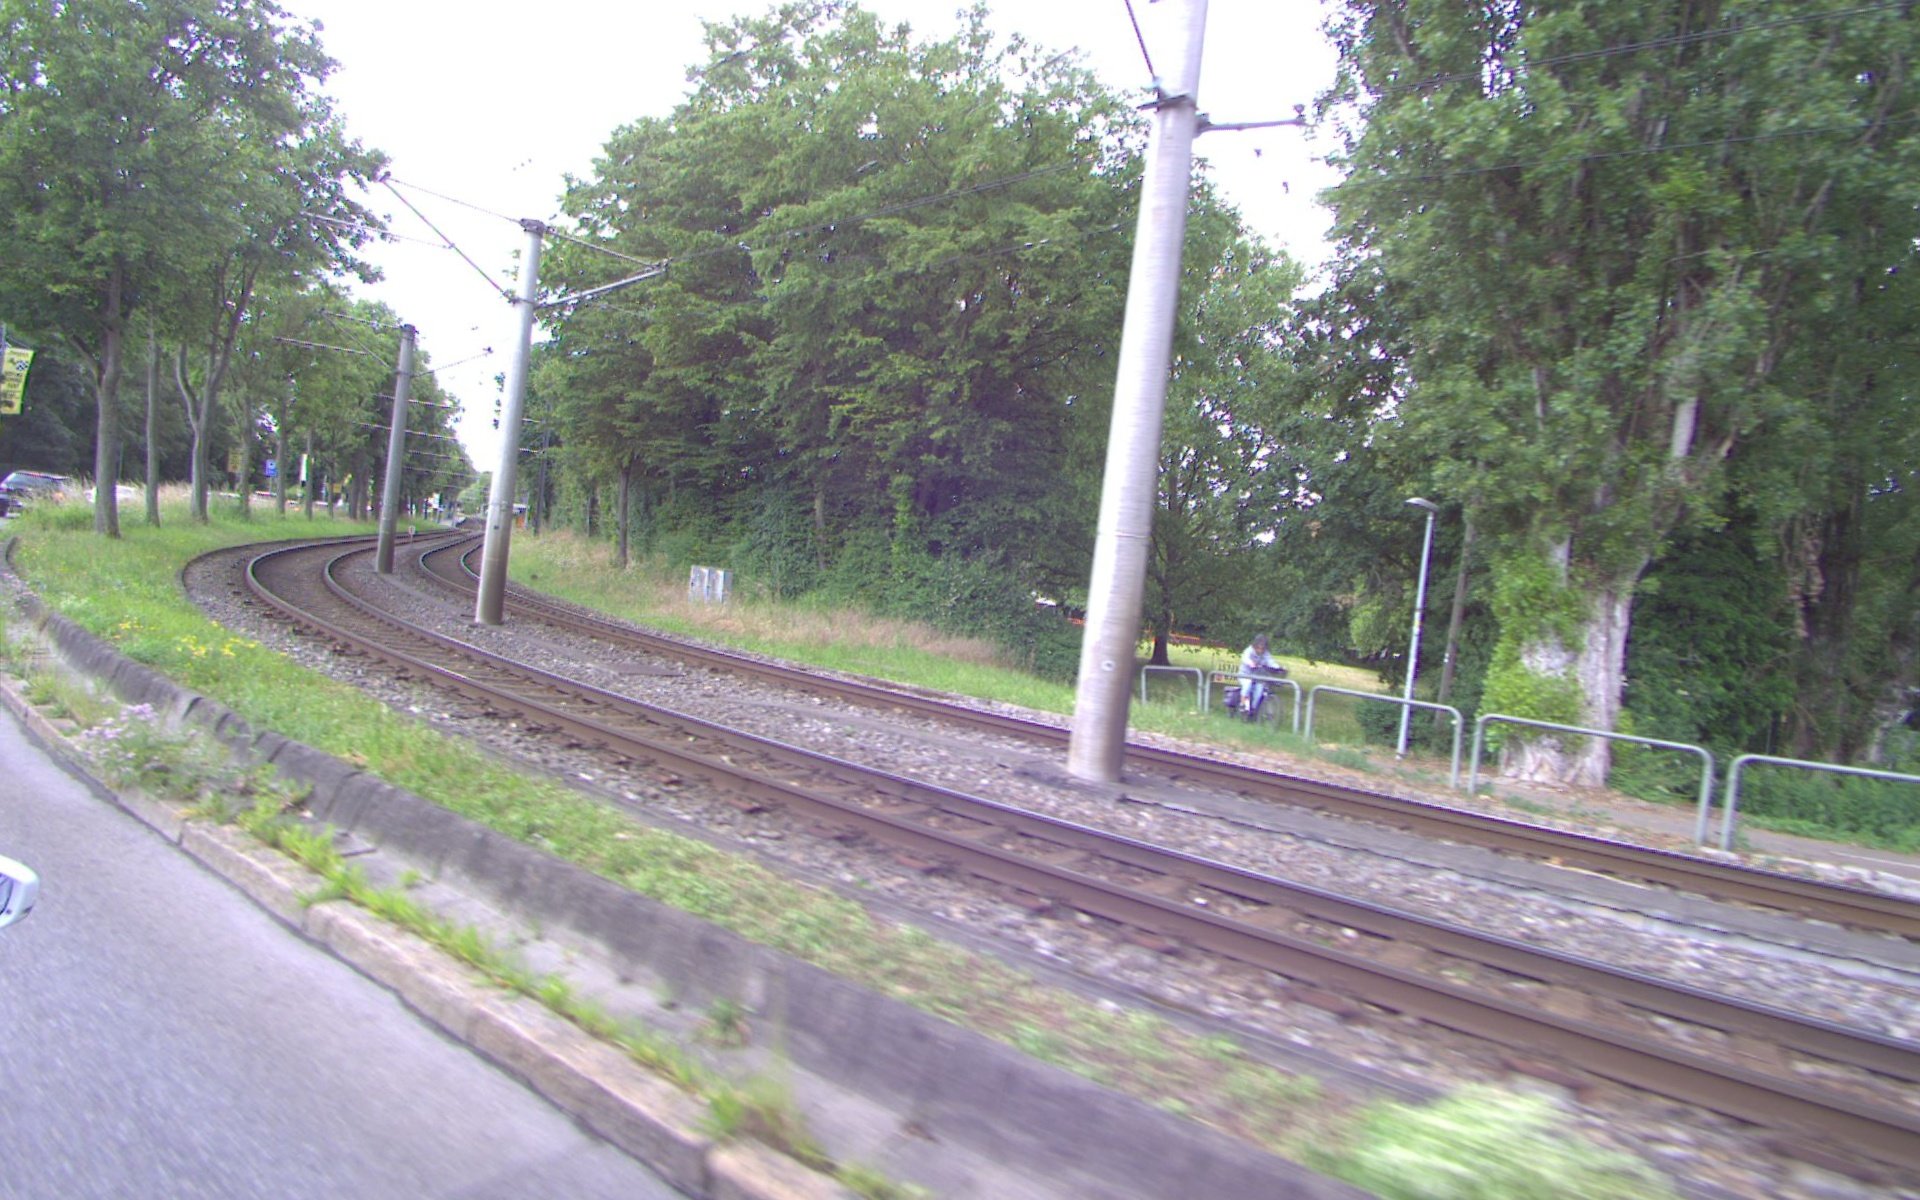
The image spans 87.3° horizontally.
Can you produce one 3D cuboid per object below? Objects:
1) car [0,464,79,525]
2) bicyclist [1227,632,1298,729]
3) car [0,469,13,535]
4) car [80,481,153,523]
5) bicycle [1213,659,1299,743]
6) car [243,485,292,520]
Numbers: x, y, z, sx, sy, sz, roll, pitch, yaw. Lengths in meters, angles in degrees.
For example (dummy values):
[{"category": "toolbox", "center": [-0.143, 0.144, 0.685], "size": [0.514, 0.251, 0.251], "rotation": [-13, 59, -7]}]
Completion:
[{"category": "car", "center": [-28.151, -3.193, 30.703], "size": [1.570, 1.558, 3.958], "rotation": [6, 1, -38]}, {"category": "bicyclist", "center": [4.713, 1.231, 15.722], "size": [0.585, 1.377, 0.909], "rotation": [8, 0, -6]}, {"category": "car", "center": [-23.401, -2.410, 22.984], "size": [1.882, 1.593, 3.962], "rotation": [8, -1, -35]}, {"category": "car", "center": [-33.318, -3.845, 39.815], "size": [1.488, 1.381, 3.559], "rotation": [6, 1, -30]}, {"category": "bicycle", "center": [4.569, 1.535, 15.695], "size": [0.420, 1.063, 2.078], "rotation": [8, 0, -5]}, {"category": "car", "center": [-45.438, -6.338, 66.062], "size": [1.911, 1.883, 3.973], "rotation": [6, 1, -26]}]
